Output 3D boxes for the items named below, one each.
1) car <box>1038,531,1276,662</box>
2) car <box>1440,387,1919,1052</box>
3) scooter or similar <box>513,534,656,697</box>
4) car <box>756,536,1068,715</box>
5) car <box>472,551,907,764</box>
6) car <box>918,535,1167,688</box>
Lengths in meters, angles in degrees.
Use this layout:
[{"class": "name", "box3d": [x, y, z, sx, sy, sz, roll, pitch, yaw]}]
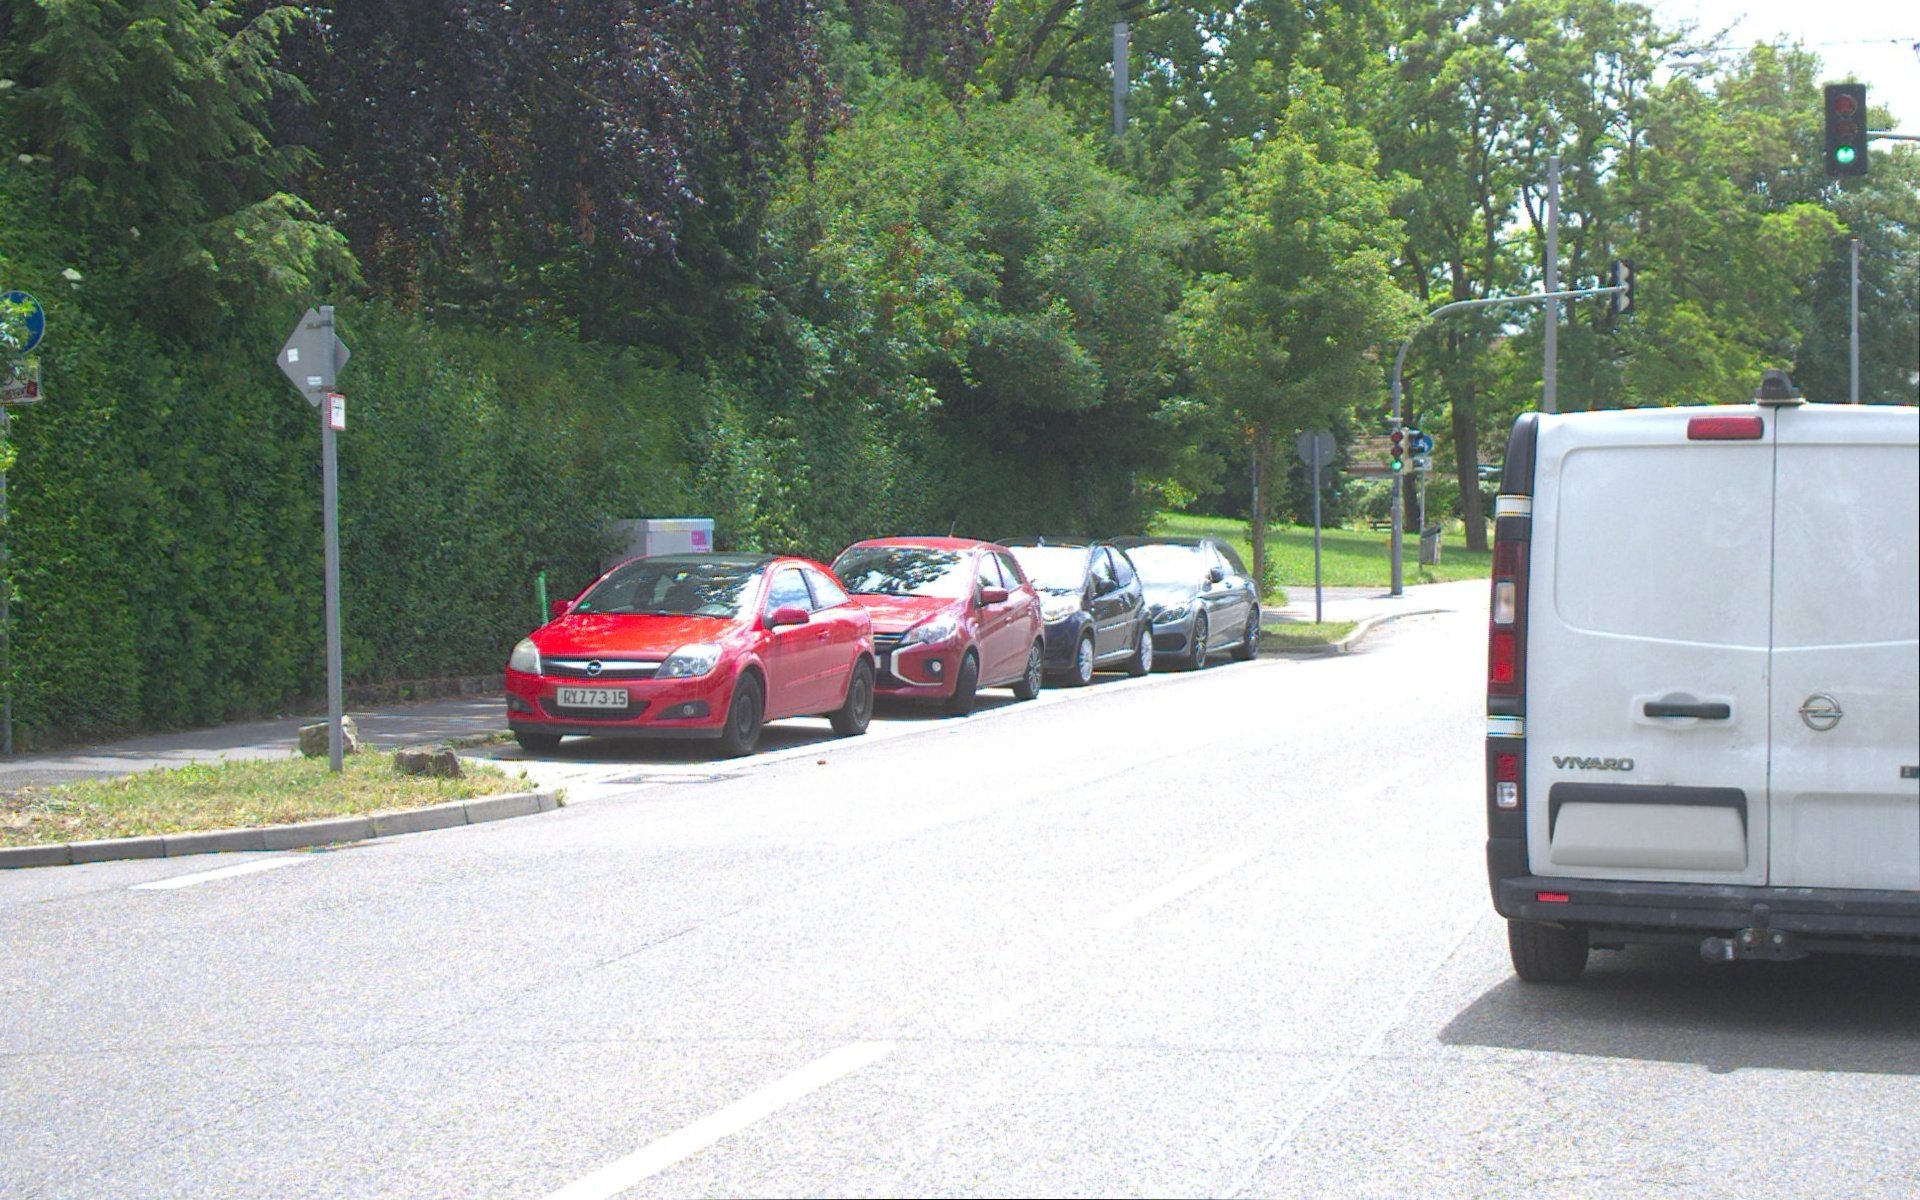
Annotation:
[{"class": "car", "box3d": [2.325, -0.090, 39.328, 1.696, 1.361, 4.683, 2, 2, 16]}, {"class": "car", "box3d": [3.230, 0.300, 12.626, 1.941, 1.954, 4.829, 2, 2, 19]}, {"class": "scooter or similar", "box3d": [-3.382, 0.119, 31.092, 0.671, 1.407, 1.648, 1, 2, 18]}, {"class": "car", "box3d": [-0.348, 0.166, 30.560, 1.651, 1.445, 4.102, 1, 1, 16]}, {"class": "car", "box3d": [-1.881, 0.352, 25.487, 1.662, 1.373, 4.562, 1, 1, 17]}, {"class": "car", "box3d": [0.899, 0.075, 35.267, 1.597, 1.445, 3.593, 1, 1, 18]}]
